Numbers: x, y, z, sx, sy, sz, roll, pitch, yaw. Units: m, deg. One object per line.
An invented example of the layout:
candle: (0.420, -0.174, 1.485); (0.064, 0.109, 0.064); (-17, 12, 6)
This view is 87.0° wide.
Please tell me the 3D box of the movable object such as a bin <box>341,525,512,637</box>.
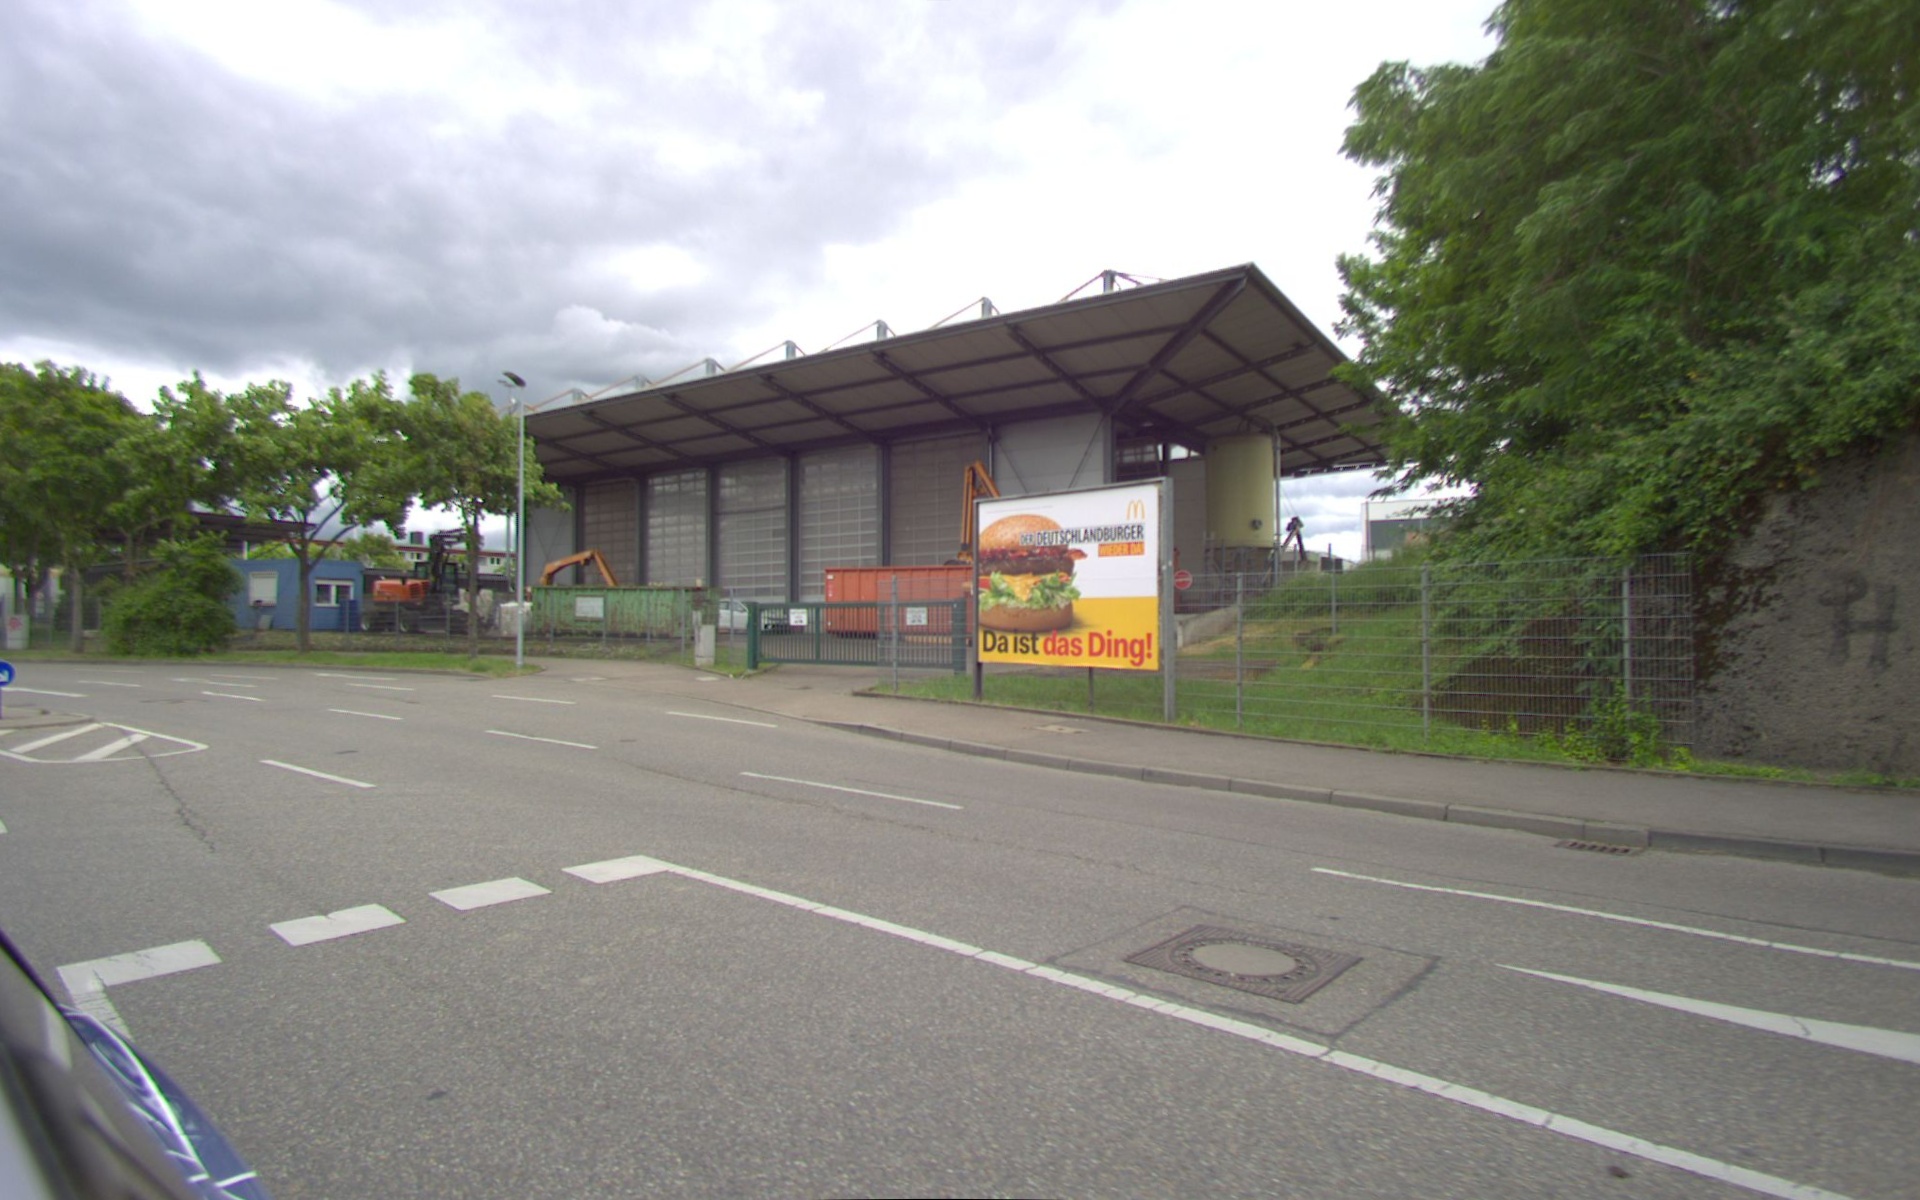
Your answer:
movable object such as a bin: (-21.216, -0.625, 40.237); (6.518, 4.122, 2.709); (-1, -3, 26)

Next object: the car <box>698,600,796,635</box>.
car: (-8.878, 0.720, 42.106); (3.989, 1.384, 1.718); (-1, -2, 34)
